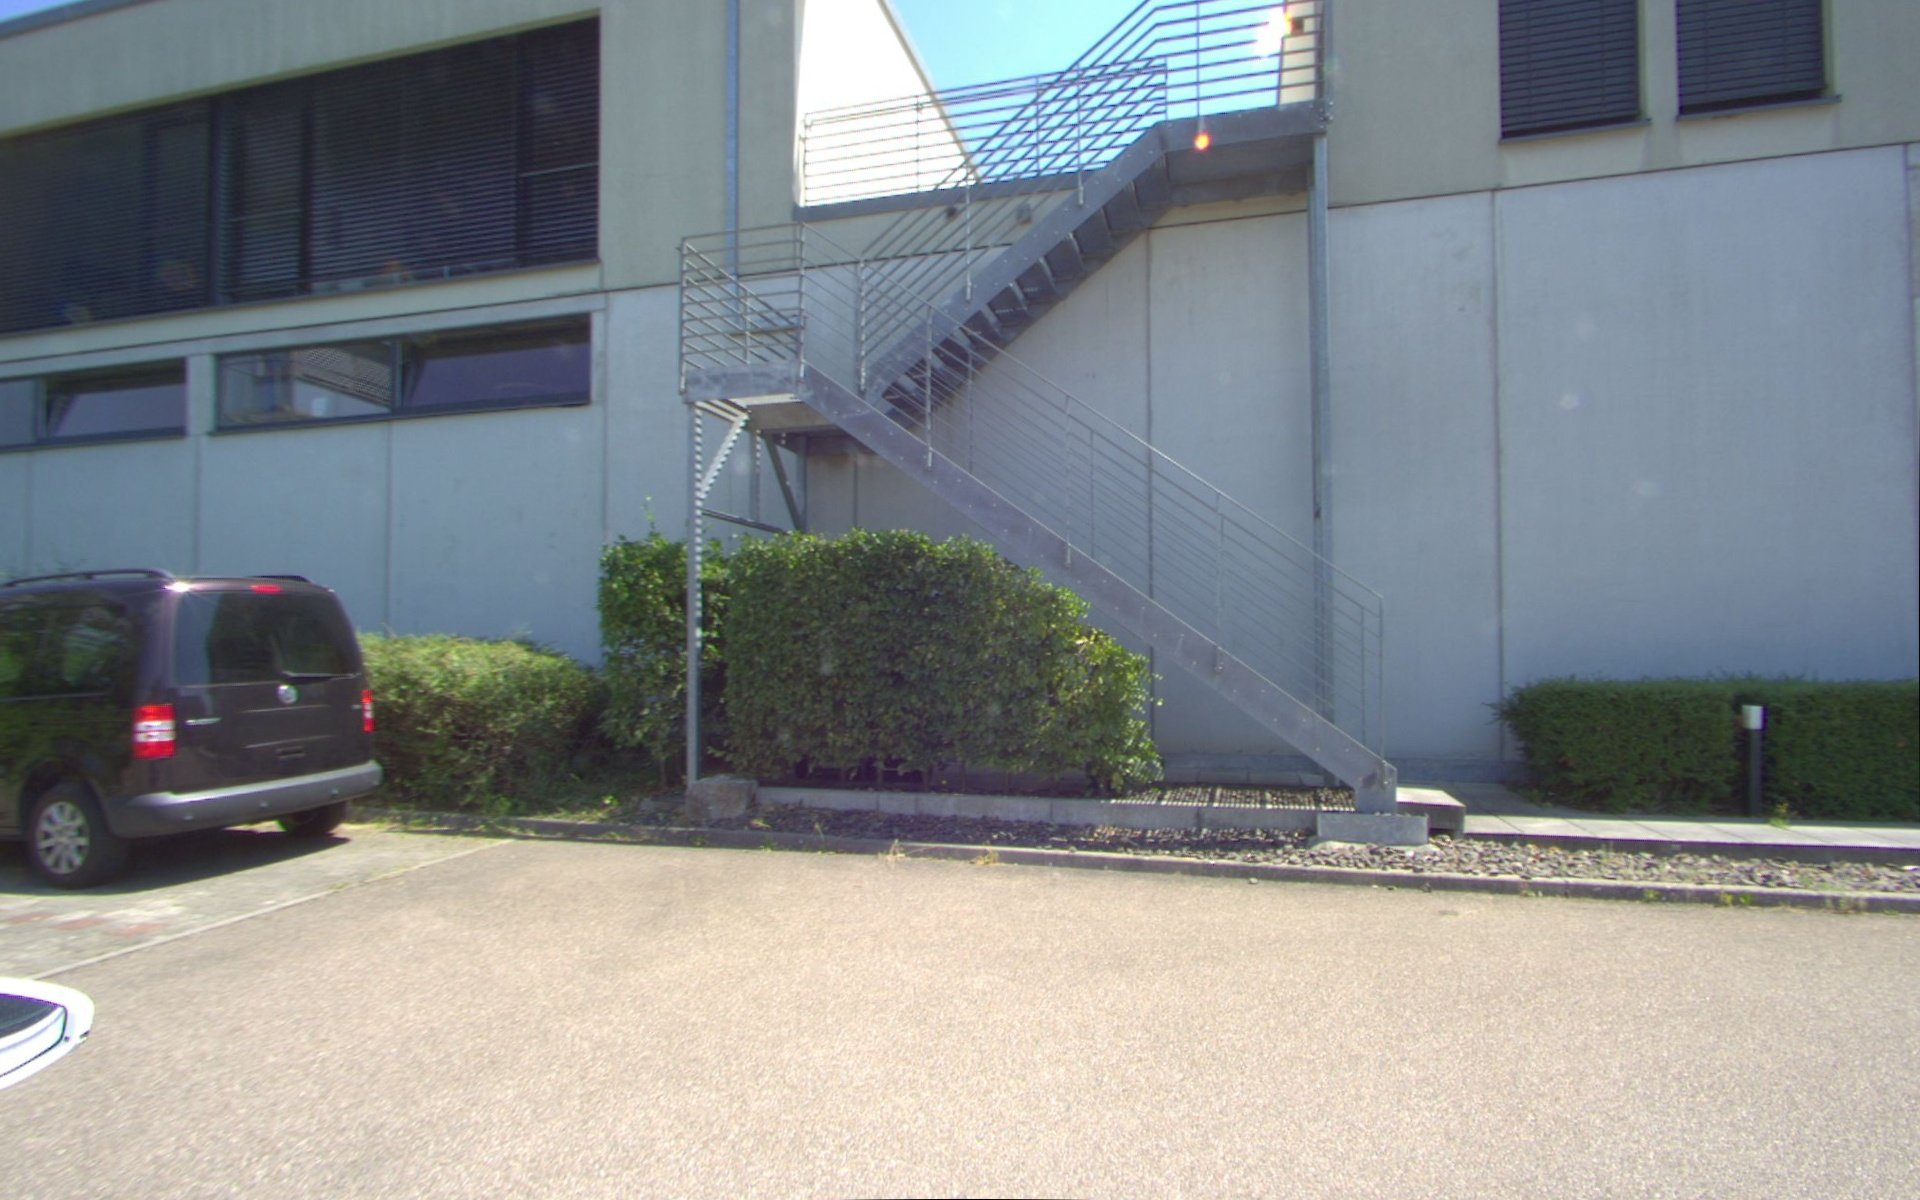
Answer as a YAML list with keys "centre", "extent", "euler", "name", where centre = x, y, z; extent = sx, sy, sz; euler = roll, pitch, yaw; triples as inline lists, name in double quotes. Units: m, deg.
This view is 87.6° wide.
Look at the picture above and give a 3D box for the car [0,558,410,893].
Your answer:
- centre: [-6.105, 0.761, 6.934]
  extent: [3.927, 1.860, 1.747]
  euler: [-1, -1, 15]
  name: "car"
